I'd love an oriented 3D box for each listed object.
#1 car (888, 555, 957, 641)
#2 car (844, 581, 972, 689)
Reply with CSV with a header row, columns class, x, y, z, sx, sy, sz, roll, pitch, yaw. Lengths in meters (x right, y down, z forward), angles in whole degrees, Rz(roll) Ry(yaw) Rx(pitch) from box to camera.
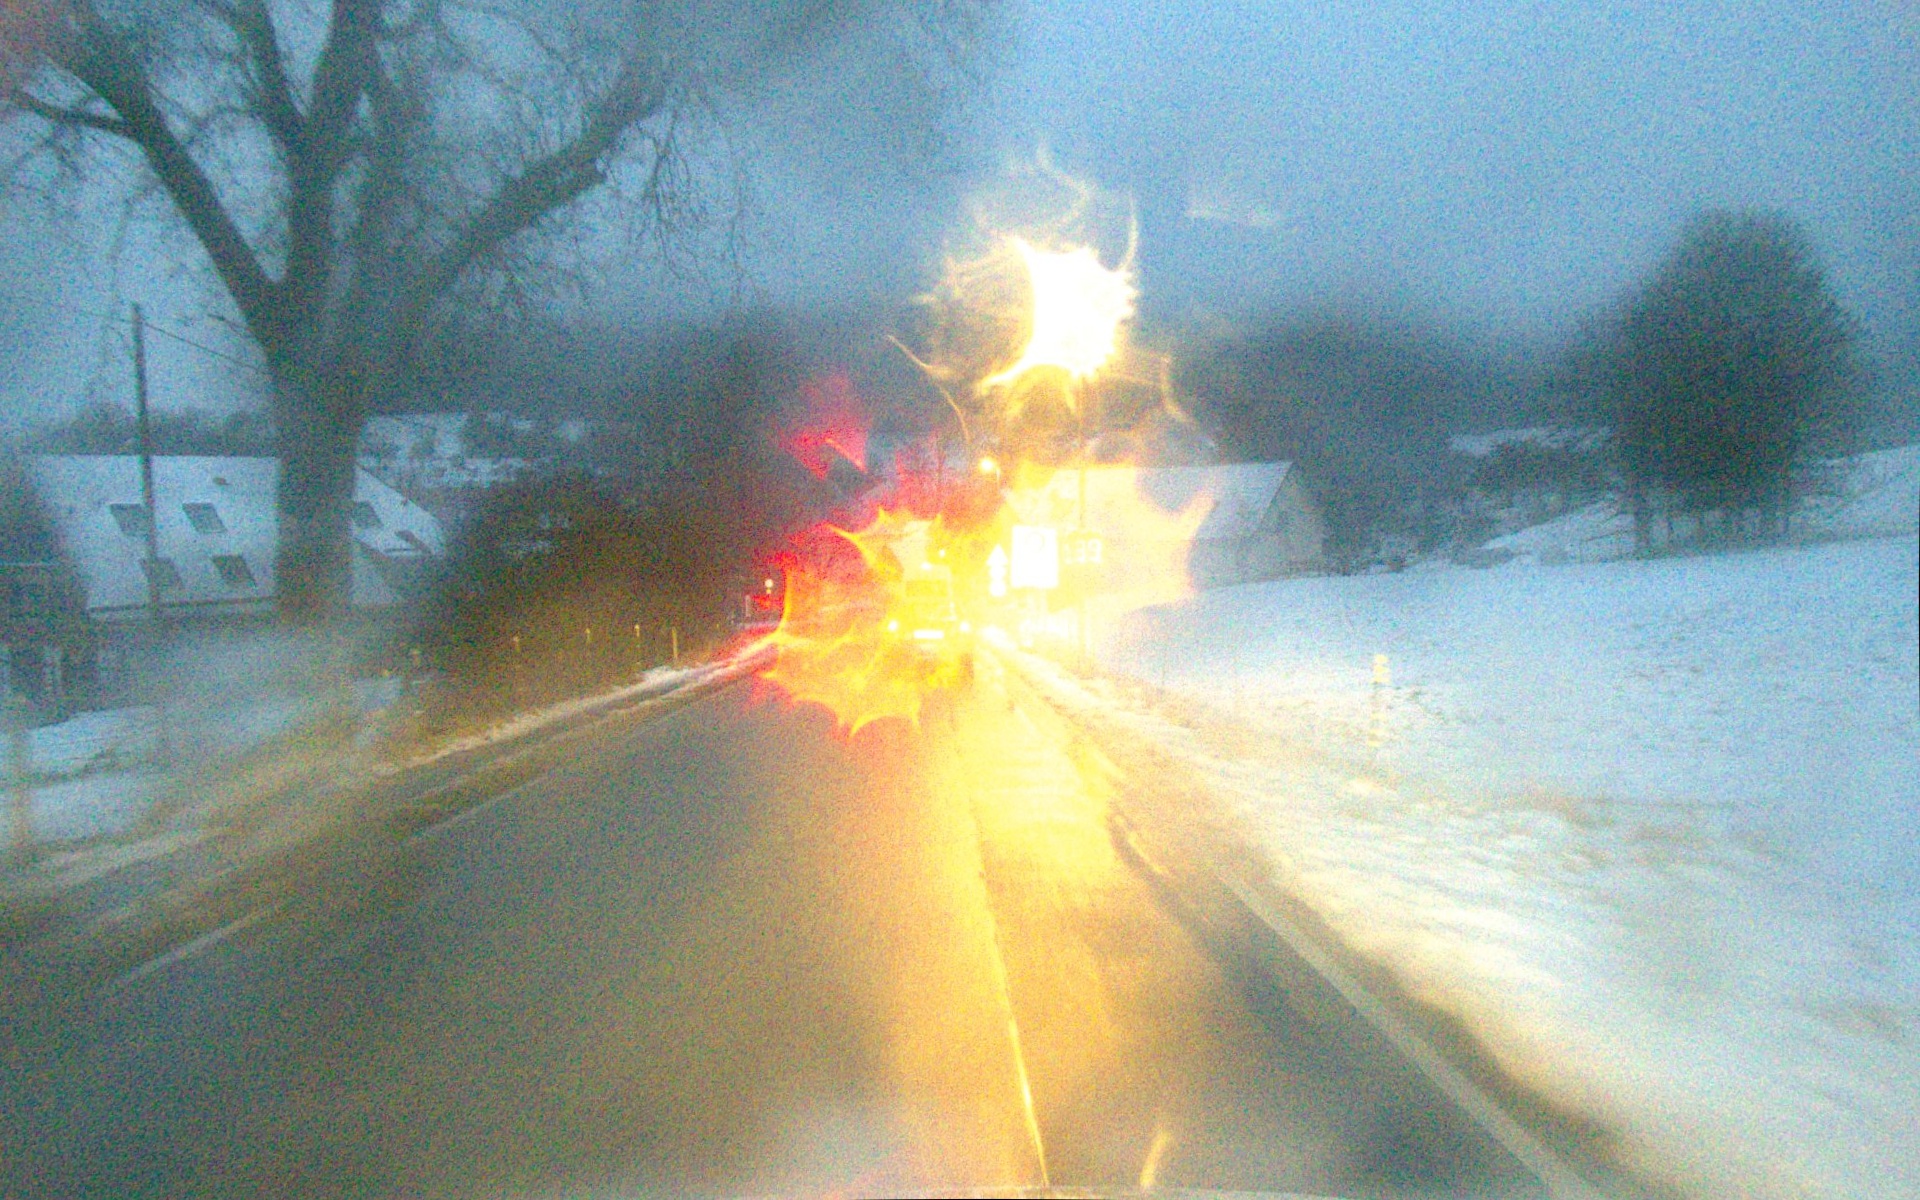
class,x,y,z,sx,sy,sz,roll,pitch,yaw
car,-1.383,-0.017,63.256,2.385,3.072,5.324,-2,-2,0
car,-0.994,0.622,31.357,2.228,1.873,5.004,-1,0,-2
